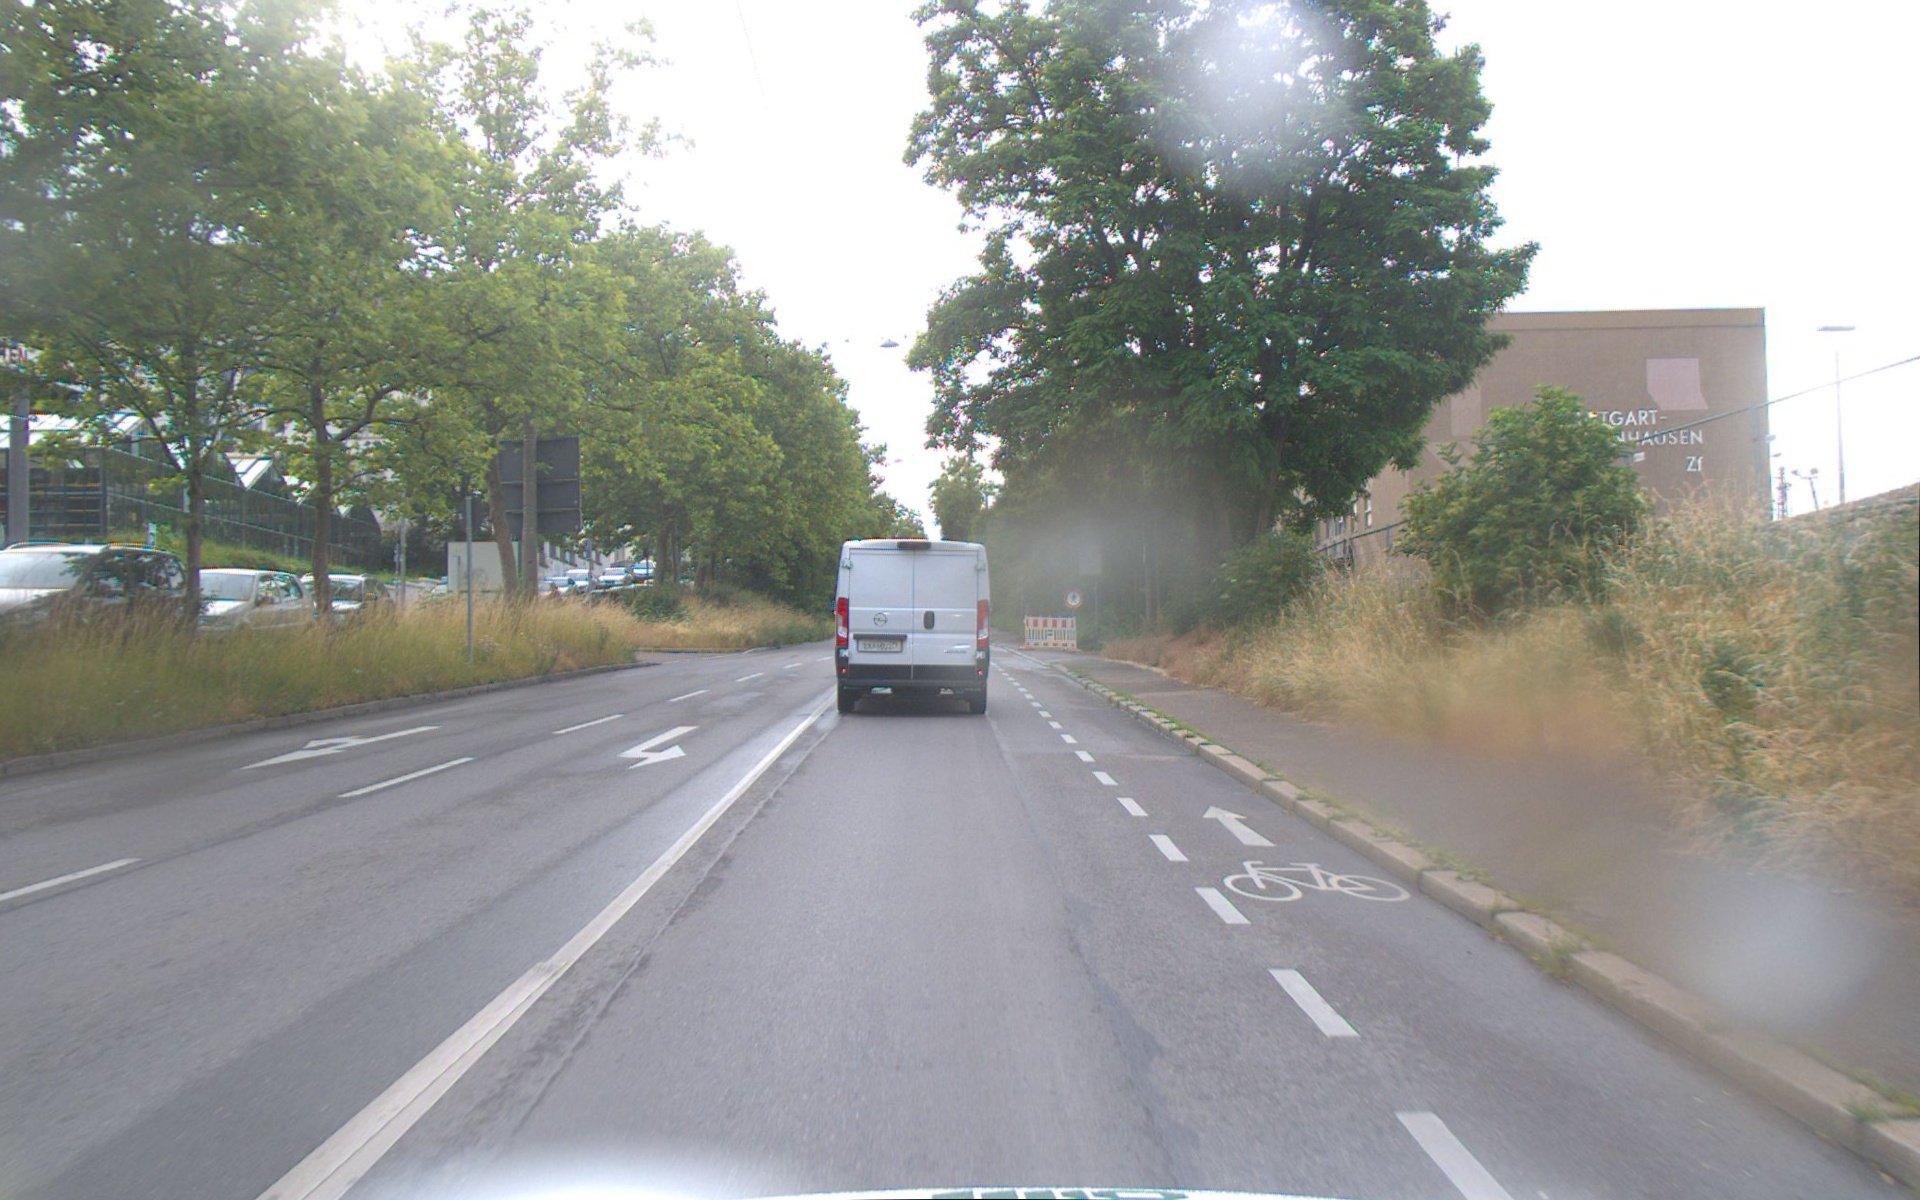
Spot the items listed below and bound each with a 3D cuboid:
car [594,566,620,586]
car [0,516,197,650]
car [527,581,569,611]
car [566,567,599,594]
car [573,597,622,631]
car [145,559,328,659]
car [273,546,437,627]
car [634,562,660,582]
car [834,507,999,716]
[{"bbox_3d":[-22.818,-1.529,106.881,1.189,1.153,2.451,-1,-2,-2],"label":"car"},{"bbox_3d":[-11.146,-0.139,20.689,1.620,1.477,3.643,-1,-2,-2],"label":"car"},{"bbox_3d":[-20.362,-0.177,81.811,1.332,1.333,3.085,-1,-2,-1],"label":"car"},{"bbox_3d":[-21.171,-1.079,92.755,1.355,1.321,3.012,-1,-2,-5],"label":"car"},{"bbox_3d":[-13.093,0.514,59.865,1.323,1.150,2.750,-1,-2,-4],"label":"car"},{"bbox_3d":[-11.183,0.194,25.802,1.333,1.419,3.705,-1,-2,-2],"label":"car"},{"bbox_3d":[-11.464,-0.200,31.652,1.506,1.316,4.543,-1,-2,-1],"label":"car"},{"bbox_3d":[-23.395,-2.075,123.562,1.568,1.272,2.907,-1,-2,-5],"label":"car"},{"bbox_3d":[-0.601,0.134,23.411,2.008,2.560,4.942,2,0,-1],"label":"car"}]
